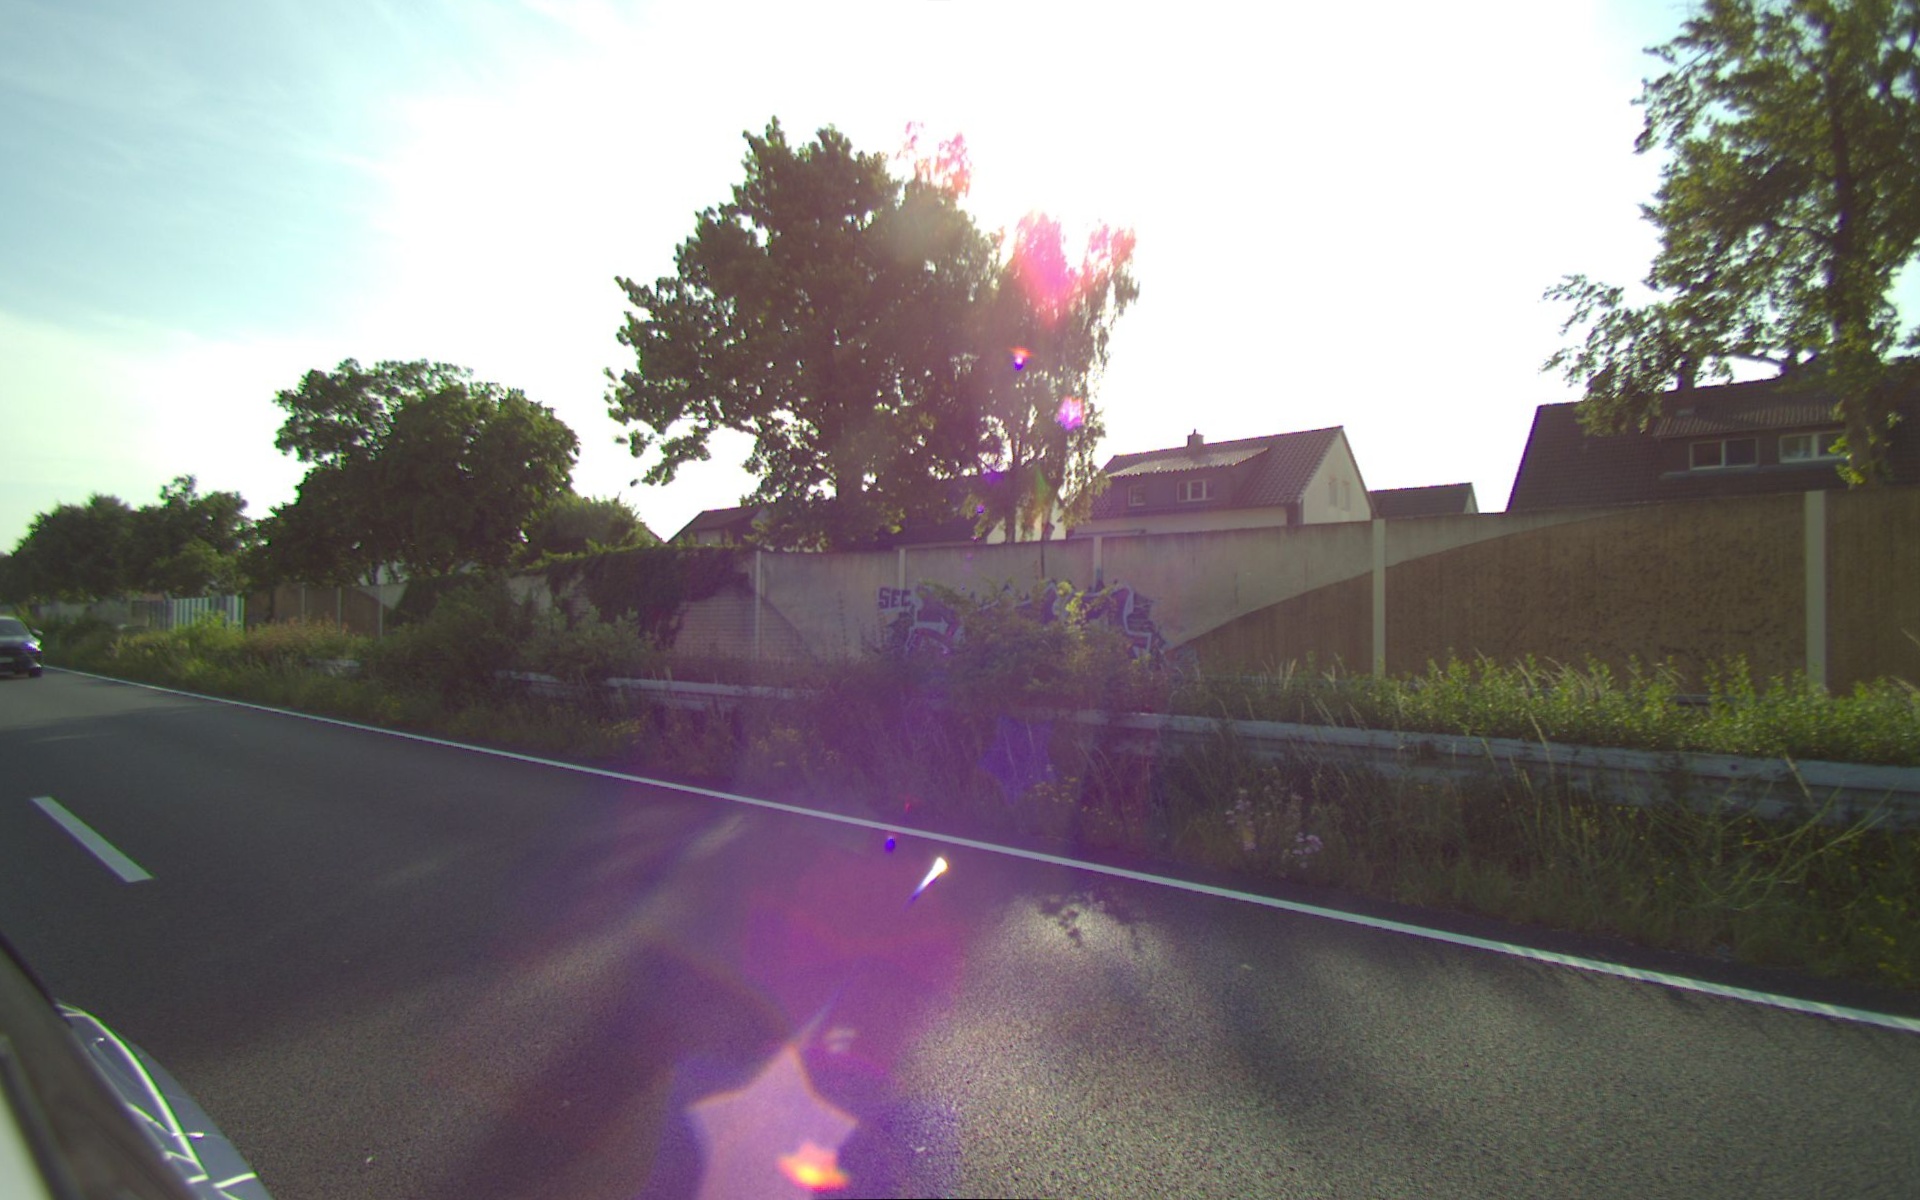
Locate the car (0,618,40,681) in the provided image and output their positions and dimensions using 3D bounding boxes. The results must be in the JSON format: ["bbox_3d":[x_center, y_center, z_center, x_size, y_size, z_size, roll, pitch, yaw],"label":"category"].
[{"bbox_3d":[-25.611,1.258,26.527,4.245,1.536,1.798,-1,0,42],"label":"car"}]
